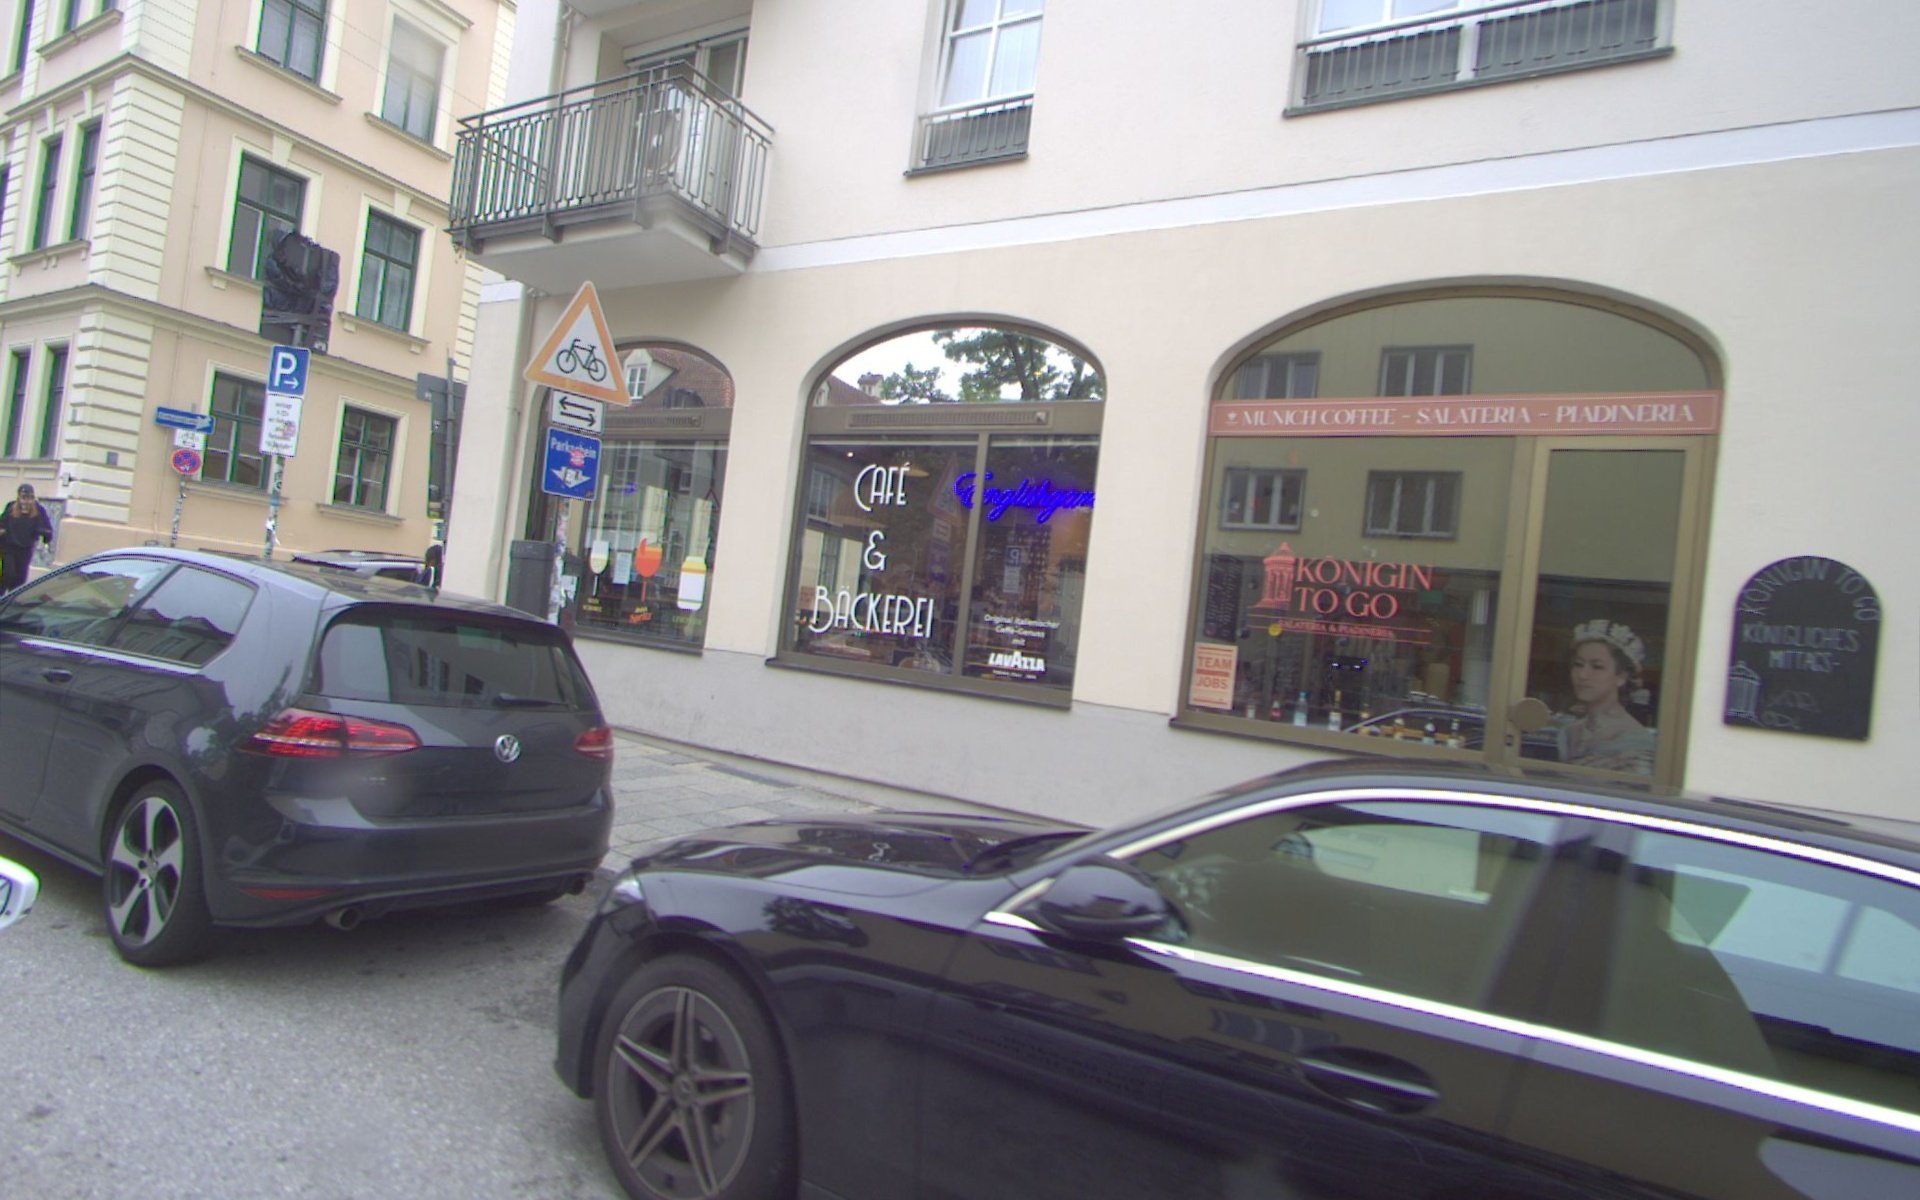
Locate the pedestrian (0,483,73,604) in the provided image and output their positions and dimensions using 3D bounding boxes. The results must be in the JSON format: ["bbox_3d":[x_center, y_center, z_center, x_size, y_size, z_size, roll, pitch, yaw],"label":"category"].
[{"bbox_3d":[-14.472,-0.871,15.541,0.987,1.737,0.720,5,-2,30],"label":"pedestrian"}]

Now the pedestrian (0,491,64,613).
[{"bbox_3d":[-13.587,-0.697,14.450,0.963,1.639,0.660,5,-2,30],"label":"pedestrian"}]

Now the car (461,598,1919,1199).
[{"bbox_3d":[1.030,1.056,2.416,4.433,1.439,1.652,7,-4,30],"label":"car"}]

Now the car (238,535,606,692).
[{"bbox_3d":[-7.239,0.292,14.006,1.725,1.624,4.098,8,-1,29],"label":"car"}]

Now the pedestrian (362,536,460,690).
[{"bbox_3d":[-6.223,0.161,11.419,0.517,1.666,0.636,5,-2,23],"label":"pedestrian"}]

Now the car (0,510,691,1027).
[{"bbox_3d":[-3.514,0.483,4.821,4.131,1.439,1.682,7,-4,29],"label":"car"}]

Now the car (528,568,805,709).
[{"bbox_3d":[-5.040,0.791,17.980,1.941,1.939,4.451,10,-1,29],"label":"car"}]
